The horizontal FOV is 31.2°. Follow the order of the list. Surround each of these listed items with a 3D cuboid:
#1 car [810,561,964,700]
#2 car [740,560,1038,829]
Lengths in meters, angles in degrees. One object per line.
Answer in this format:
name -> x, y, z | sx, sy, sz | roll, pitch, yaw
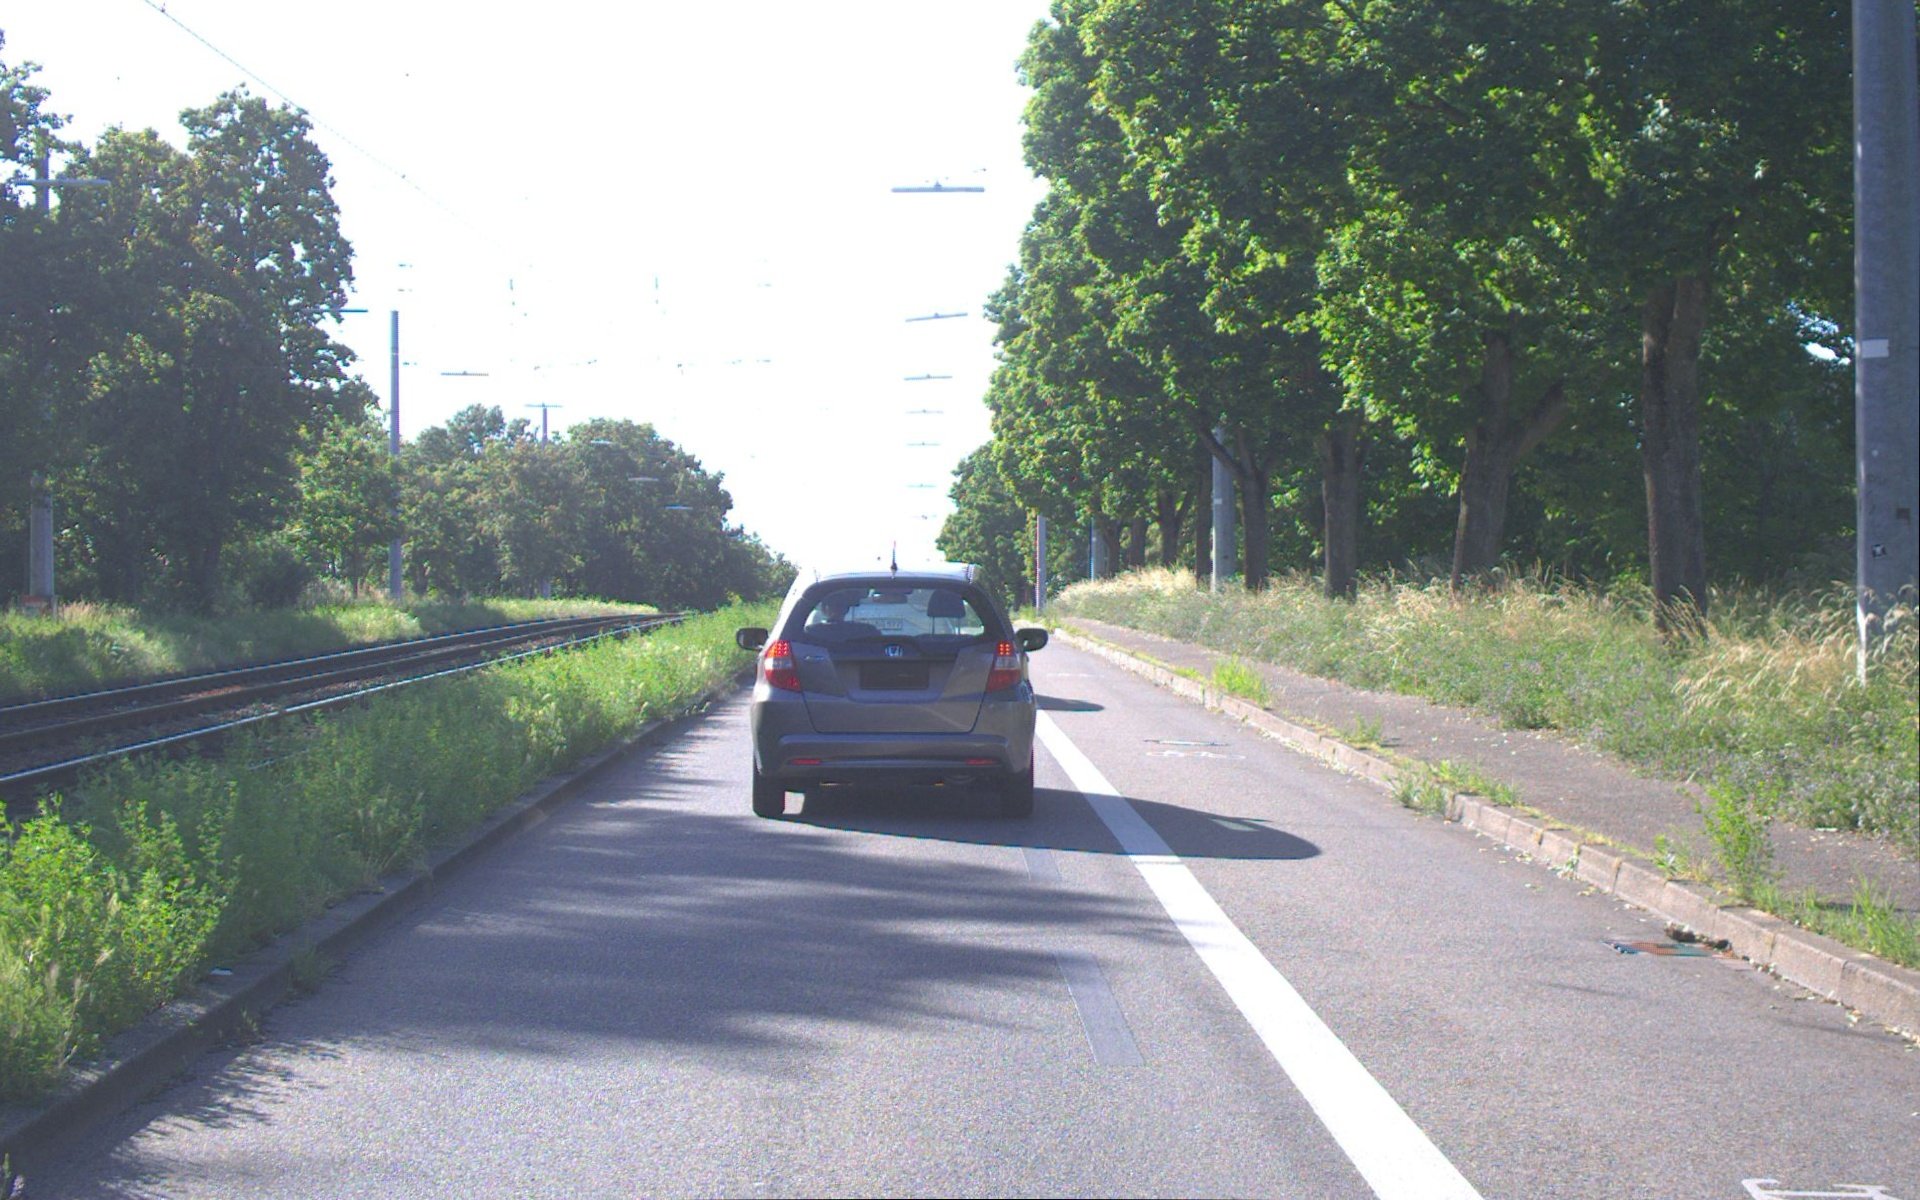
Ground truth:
car -> -0.806, 0.324, 39.672 | 1.654, 1.502, 3.811 | 1, 0, 0
car -> -0.445, 0.529, 21.505 | 1.670, 1.502, 3.811 | 1, 0, -1
